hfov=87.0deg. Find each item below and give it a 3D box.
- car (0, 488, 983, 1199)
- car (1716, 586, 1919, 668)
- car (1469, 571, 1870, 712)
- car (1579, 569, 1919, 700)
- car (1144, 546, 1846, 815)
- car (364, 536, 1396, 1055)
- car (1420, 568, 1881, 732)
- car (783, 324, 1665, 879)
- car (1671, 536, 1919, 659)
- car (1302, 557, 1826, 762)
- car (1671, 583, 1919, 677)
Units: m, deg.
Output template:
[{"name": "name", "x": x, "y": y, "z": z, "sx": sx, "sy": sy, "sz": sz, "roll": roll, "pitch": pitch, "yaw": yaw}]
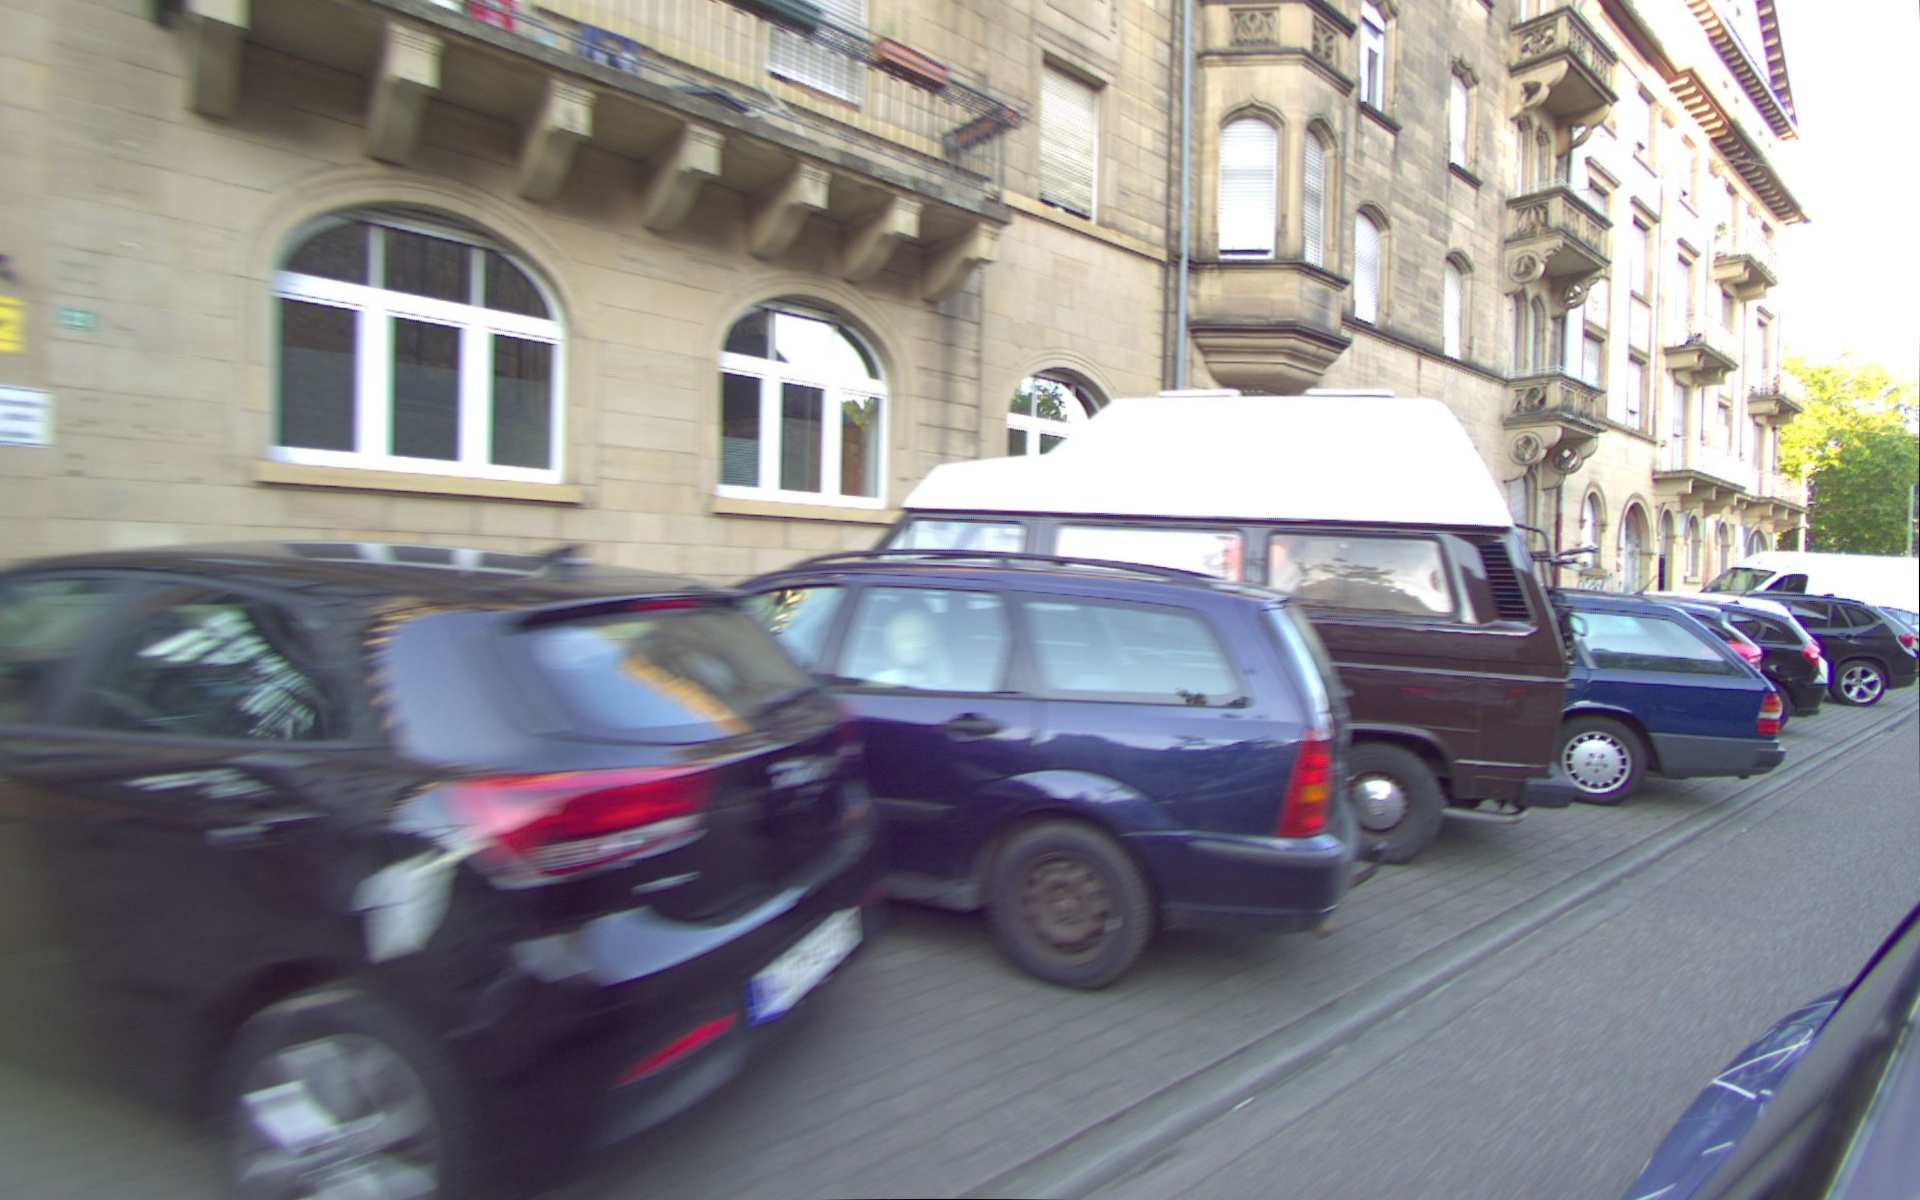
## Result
[{"name": "car", "x": -2.099, "y": 0.512, "z": 3.095, "sx": 4.018, "sy": 1.510, "sz": 1.713, "roll": 2, "pitch": 1, "yaw": 19}, {"name": "car", "x": 18.778, "y": 0.559, "z": 21.166, "sx": 4.188, "sy": 1.471, "sz": 1.994, "roll": 3, "pitch": 3, "yaw": 12}, {"name": "car", "x": 9.389, "y": 0.475, "z": 13.785, "sx": 3.999, "sy": 1.516, "sz": 1.747, "roll": 3, "pitch": 3, "yaw": 15}, {"name": "car", "x": 12.035, "y": 0.448, "z": 15.337, "sx": 4.036, "sy": 1.627, "sz": 1.811, "roll": 3, "pitch": 3, "yaw": 12}, {"name": "car", "x": 3.810, "y": 0.449, "z": 8.020, "sx": 4.344, "sy": 1.504, "sz": 1.832, "roll": 4, "pitch": 3, "yaw": 20}, {"name": "car", "x": -0.381, "y": 0.511, "z": 4.686, "sx": 4.306, "sy": 1.521, "sz": 1.899, "roll": 2, "pitch": 1, "yaw": 22}, {"name": "car", "x": 7.795, "y": 0.474, "z": 11.920, "sx": 3.979, "sy": 1.449, "sz": 1.860, "roll": 4, "pitch": 3, "yaw": 16}, {"name": "car", "x": 1.390, "y": -0.064, "z": 6.438, "sx": 4.668, "sy": 2.578, "sz": 1.905, "roll": 1, "pitch": 2, "yaw": 21}, {"name": "car", "x": 20.349, "y": -0.093, "z": 23.461, "sx": 5.788, "sy": 2.582, "sz": 2.192, "roll": 2, "pitch": 4, "yaw": 9}, {"name": "car", "x": 5.610, "y": 0.430, "z": 10.046, "sx": 4.074, "sy": 1.564, "sz": 1.783, "roll": 3, "pitch": 4, "yaw": 22}, {"name": "car", "x": 16.277, "y": 0.540, "z": 19.337, "sx": 3.854, "sy": 1.463, "sz": 1.871, "roll": 3, "pitch": 4, "yaw": 10}]
